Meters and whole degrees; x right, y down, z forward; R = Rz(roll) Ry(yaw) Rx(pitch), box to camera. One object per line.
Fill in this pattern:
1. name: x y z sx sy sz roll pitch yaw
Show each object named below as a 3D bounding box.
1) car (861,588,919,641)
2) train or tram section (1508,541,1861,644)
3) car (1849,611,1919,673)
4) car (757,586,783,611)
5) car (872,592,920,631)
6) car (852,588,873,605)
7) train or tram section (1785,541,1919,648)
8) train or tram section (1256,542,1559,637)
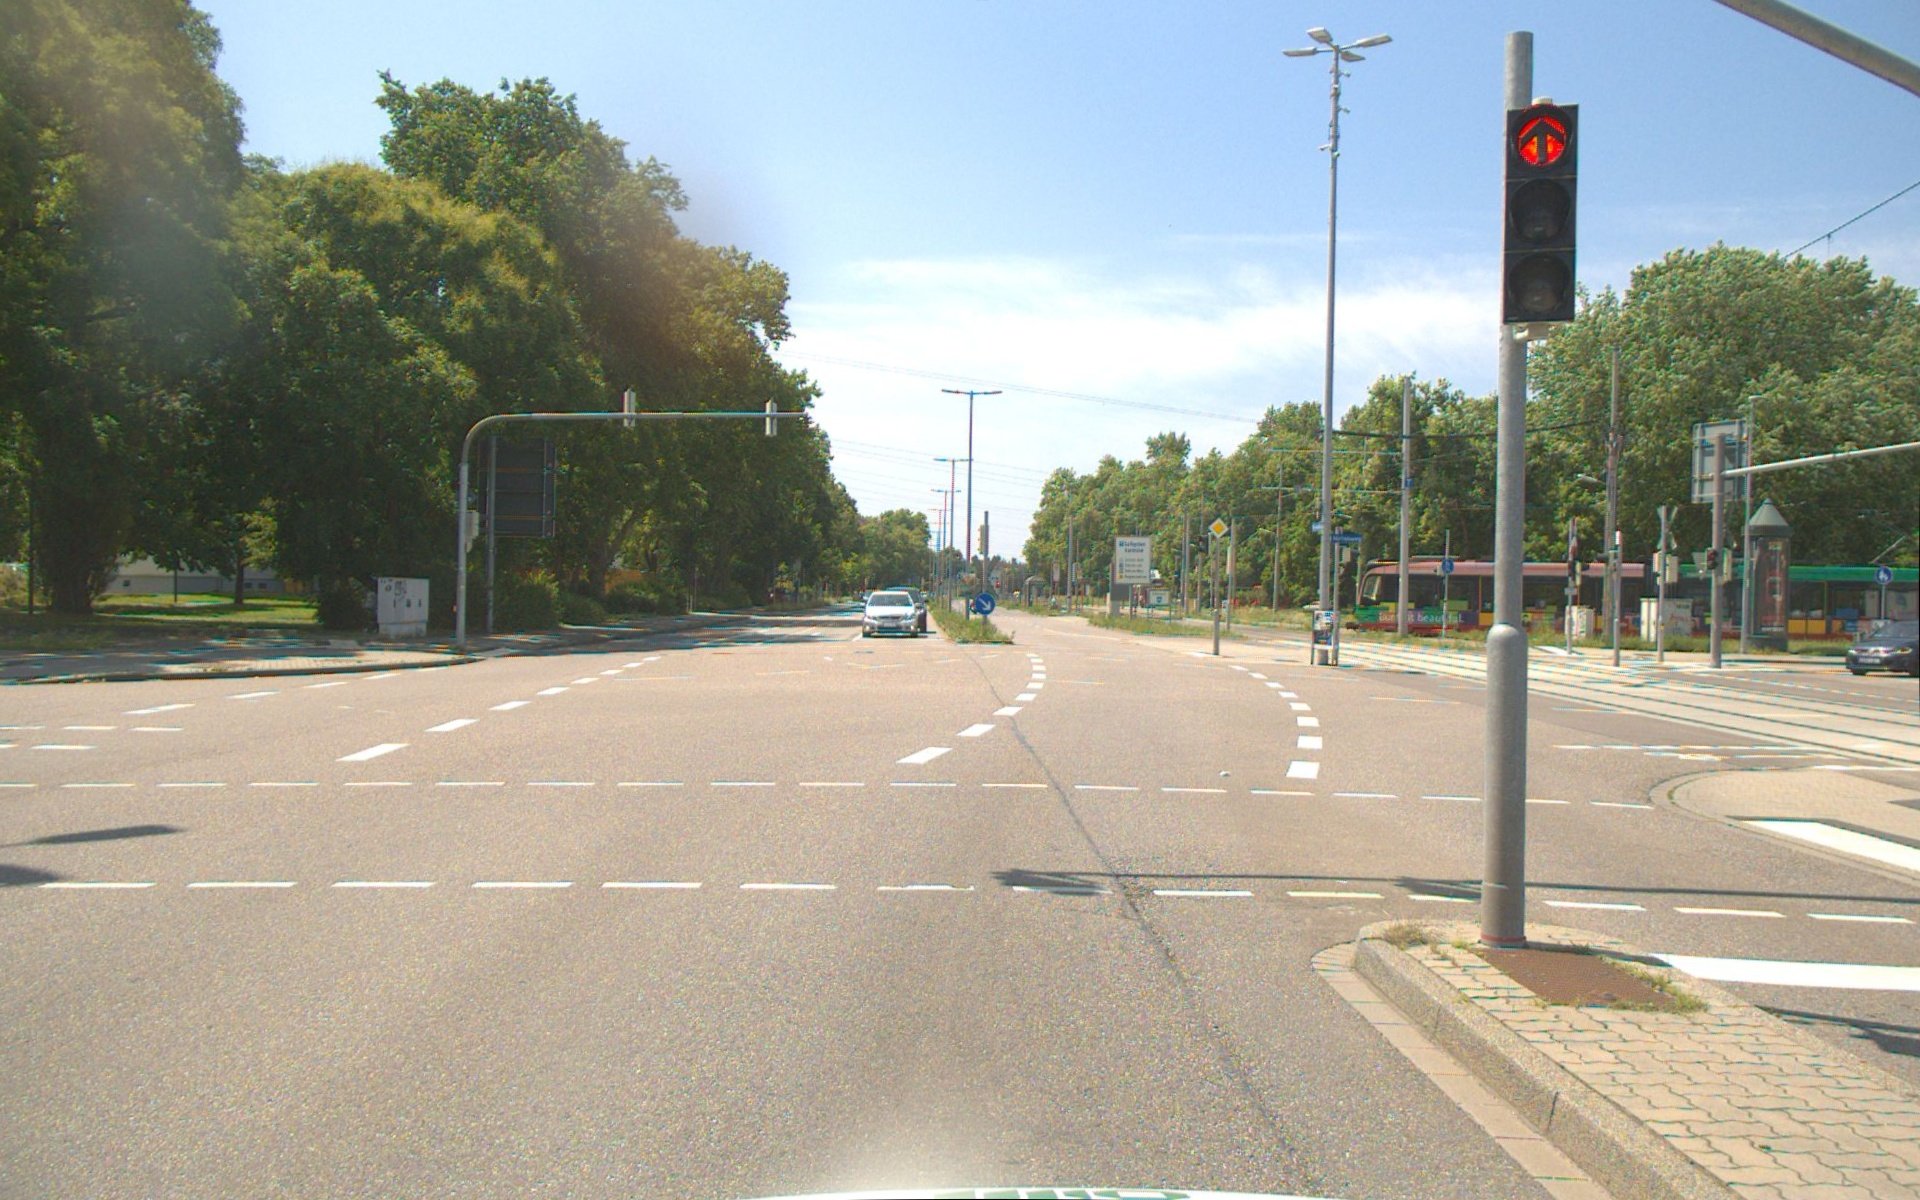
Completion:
1. car: -2.267 0.449 54.194 1.748 1.657 3.864 1 0 -1
2. train or tram section: 29.671 -0.334 68.575 13.133 3.878 2.924 1 -3 19
3. car: 24.512 1.067 42.373 3.465 1.488 1.622 1 0 -33
4. car: -16.604 -0.119 144.461 1.955 2.048 3.996 4 -1 -4
5. car: -2.349 0.400 61.589 1.676 1.389 3.864 1 0 -1
6. car: -8.653 -0.310 146.700 1.637 1.516 3.710 1 0 -1
7. train or tram section: 41.145 0.010 67.912 13.732 3.988 2.918 3 -3 -8
8. train or tram section: 19.823 -0.440 74.030 12.806 3.878 2.914 0 -3 35
